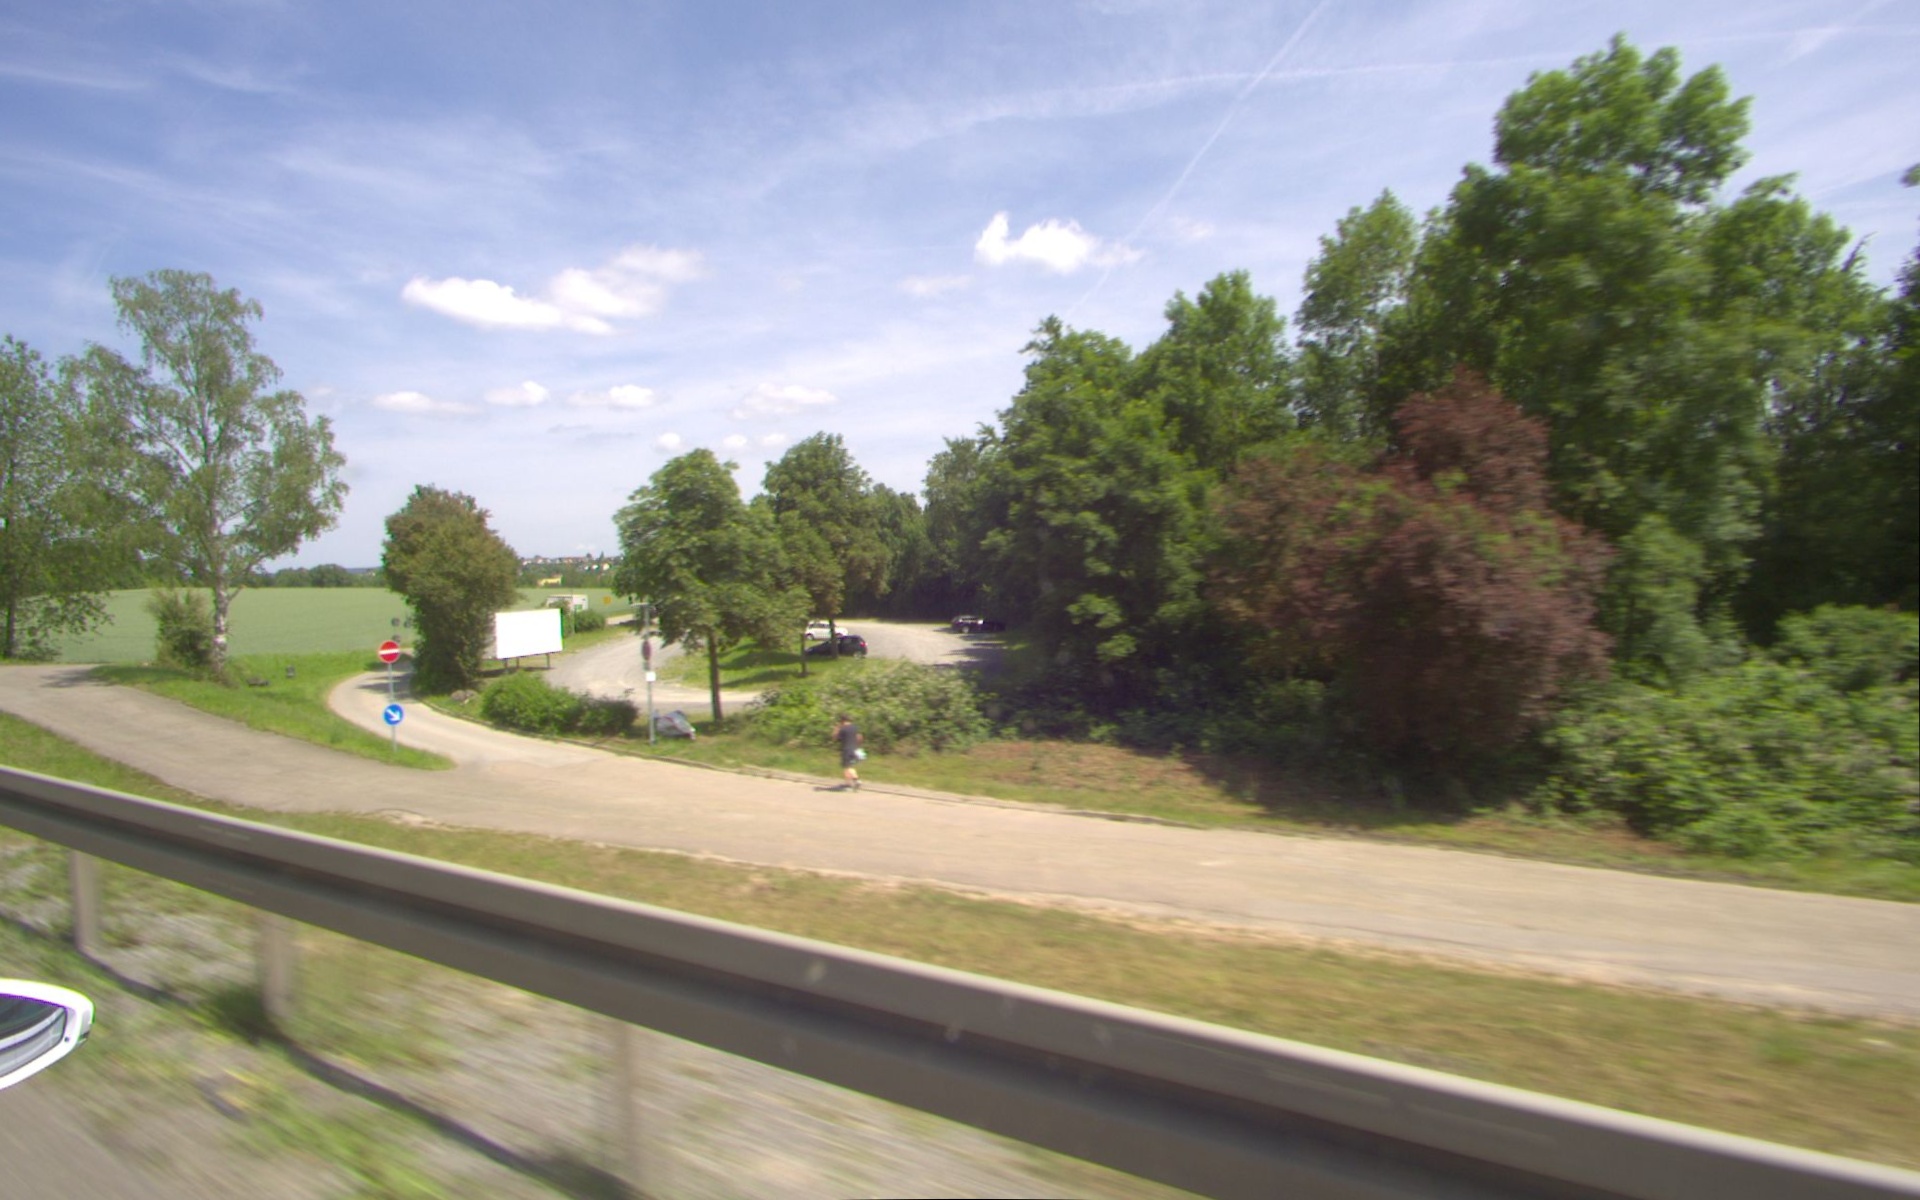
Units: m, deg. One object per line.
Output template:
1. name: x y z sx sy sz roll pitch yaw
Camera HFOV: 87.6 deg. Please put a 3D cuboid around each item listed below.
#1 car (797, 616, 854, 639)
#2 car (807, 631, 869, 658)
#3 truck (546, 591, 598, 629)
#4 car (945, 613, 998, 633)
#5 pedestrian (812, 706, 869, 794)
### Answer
1. car: -10.870 2.201 81.067 4.259 1.681 1.999 0 2 1
2. car: -7.564 2.763 62.216 3.624 1.512 1.693 -1 2 -1
3. truck: -41.553 1.027 107.491 3.091 3.585 7.132 -2 3 -5
4. car: 0.975 1.903 84.701 4.090 1.512 1.899 -1 2 -13
5. pedestrian: -2.772 3.462 23.295 0.945 1.836 0.883 0 3 31
